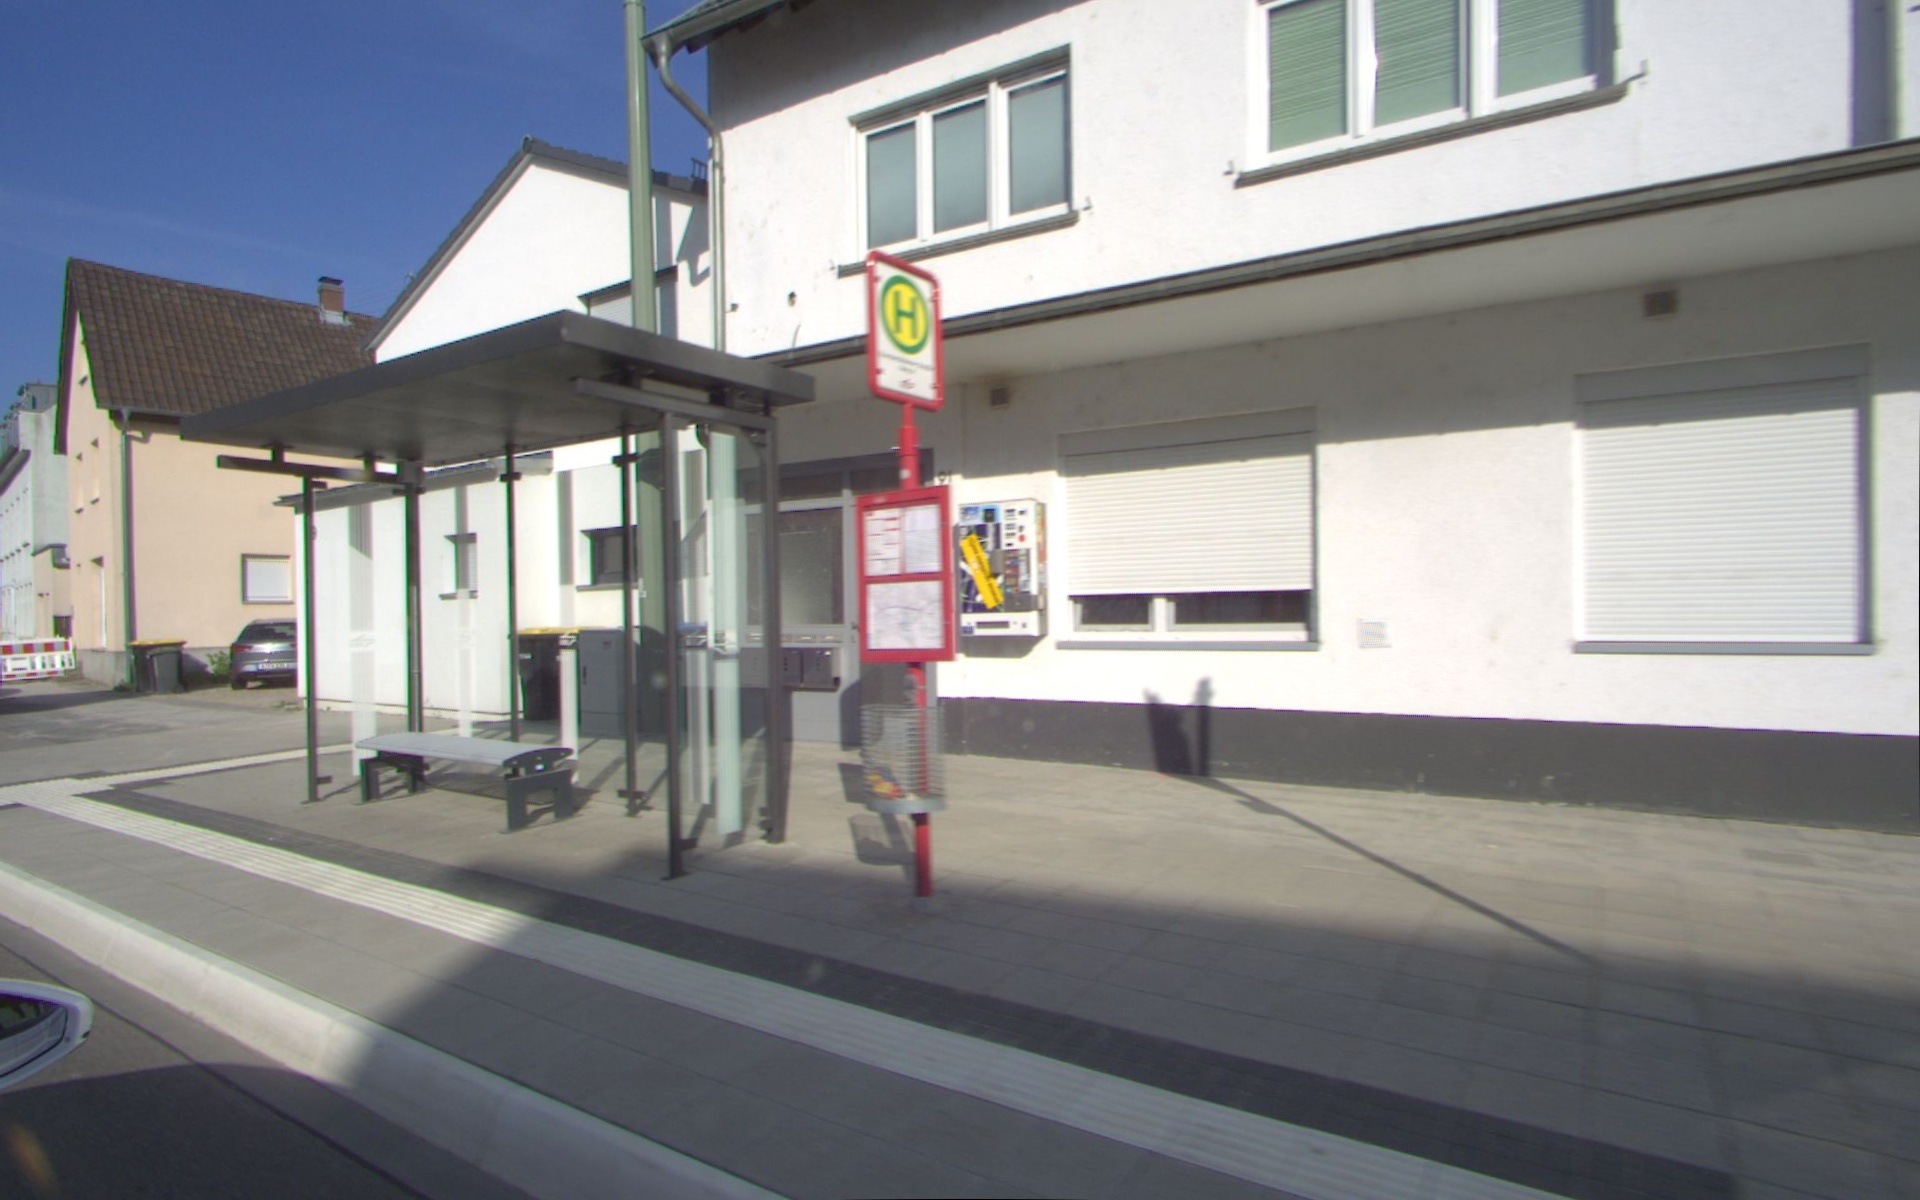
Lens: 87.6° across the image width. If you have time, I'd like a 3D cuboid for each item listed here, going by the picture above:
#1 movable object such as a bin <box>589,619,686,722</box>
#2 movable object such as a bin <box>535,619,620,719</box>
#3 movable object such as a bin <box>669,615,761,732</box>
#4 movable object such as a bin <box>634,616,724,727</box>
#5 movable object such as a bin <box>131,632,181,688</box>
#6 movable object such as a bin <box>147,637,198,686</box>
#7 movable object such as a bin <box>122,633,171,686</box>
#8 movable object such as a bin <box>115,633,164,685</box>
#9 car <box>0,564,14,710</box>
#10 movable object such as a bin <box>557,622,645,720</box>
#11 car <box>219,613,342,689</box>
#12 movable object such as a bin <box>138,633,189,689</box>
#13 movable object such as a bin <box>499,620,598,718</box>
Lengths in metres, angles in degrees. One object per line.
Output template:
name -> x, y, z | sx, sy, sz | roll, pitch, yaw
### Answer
movable object such as a bin -> -3.549, 0.753, 11.058 | 0.594, 1.073, 0.809 | -1, 1, 35
movable object such as a bin -> -4.458, 0.787, 11.688 | 0.437, 1.108, 0.809 | -1, 1, 35
movable object such as a bin -> -2.458, 0.718, 10.077 | 0.551, 1.108, 0.694 | -1, 1, 35
movable object such as a bin -> -2.940, 0.728, 10.503 | 0.551, 1.108, 0.694 | -1, 1, 33
movable object such as a bin -> -16.936, 1.261, 21.103 | 0.547, 1.146, 0.725 | -1, -1, 39
movable object such as a bin -> -15.947, 1.233, 20.281 | 0.547, 0.971, 0.725 | -1, -1, 39
movable object such as a bin -> -17.463, 1.260, 21.505 | 0.547, 1.107, 0.725 | -1, -1, 39
movable object such as a bin -> -17.932, 1.273, 21.887 | 0.618, 1.107, 0.725 | -1, -1, 39
car -> -17.972, 0.655, 16.973 | 4.938, 2.358, 2.164 | -1, 1, 40
movable object such as a bin -> -4.087, 0.791, 11.426 | 0.464, 1.050, 0.809 | -1, 1, 35
car -> -14.684, 1.023, 21.833 | 1.636, 1.426, 3.962 | -2, 0, -26
movable object such as a bin -> -16.486, 1.250, 20.722 | 0.547, 1.107, 0.725 | -1, 0, 39
movable object such as a bin -> -4.951, 0.801, 12.055 | 0.757, 1.108, 0.809 | -1, 0, 35
